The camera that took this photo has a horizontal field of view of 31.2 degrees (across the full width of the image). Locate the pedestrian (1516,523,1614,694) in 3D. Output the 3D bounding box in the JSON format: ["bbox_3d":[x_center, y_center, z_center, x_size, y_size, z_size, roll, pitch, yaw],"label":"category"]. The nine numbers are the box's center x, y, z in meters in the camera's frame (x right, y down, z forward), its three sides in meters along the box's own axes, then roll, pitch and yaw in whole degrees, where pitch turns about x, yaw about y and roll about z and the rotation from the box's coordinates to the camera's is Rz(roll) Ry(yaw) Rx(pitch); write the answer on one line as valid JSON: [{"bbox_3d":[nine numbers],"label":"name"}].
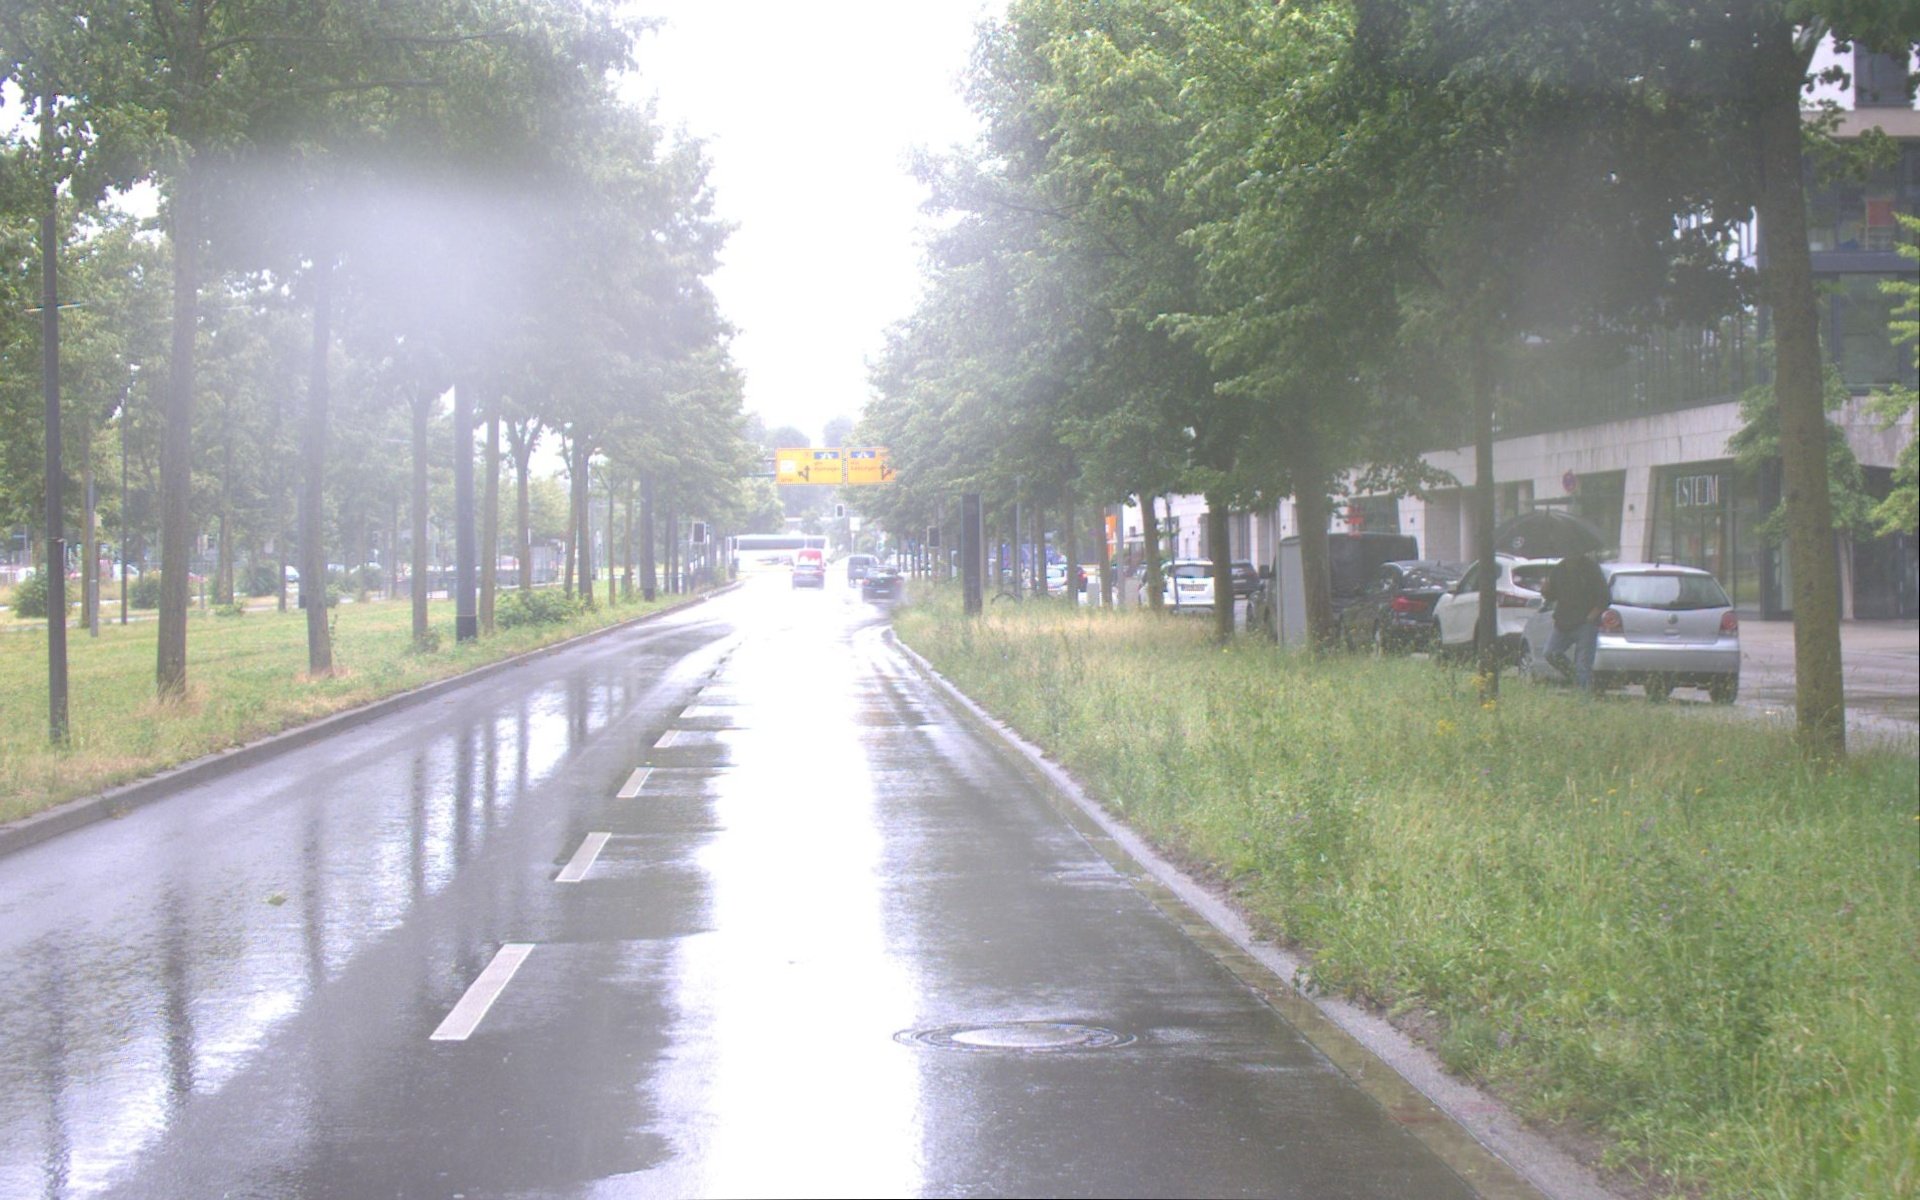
[{"bbox_3d":[5.343,0.069,30.389,0.697,1.488,0.644,-1,1,-5],"label":"pedestrian"}]

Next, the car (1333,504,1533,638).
[{"bbox_3d":[6.698,-0.467,49.207,1.993,1.663,4.959,-1,3,-2],"label":"car"}]

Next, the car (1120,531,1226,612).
[{"bbox_3d":[4.960,-0.702,80.703,1.993,1.663,4.725,-1,3,-2],"label":"car"}]

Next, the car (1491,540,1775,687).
[{"bbox_3d":[7.197,0.096,37.233,1.769,1.447,4.725,0,2,-5],"label":"car"}]

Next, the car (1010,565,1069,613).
[{"bbox_3d":[2.918,-0.429,126.674,1.881,1.500,4.725,-1,3,-2],"label":"car"}]

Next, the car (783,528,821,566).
[{"bbox_3d":[-9.181,-3.090,199.959,1.993,2.006,4.001,-1,3,0],"label":"car"}]

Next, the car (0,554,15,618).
[{"bbox_3d":[-23.399,-0.225,78.972,1.951,1.455,4.832,-1,3,1],"label":"car"}]

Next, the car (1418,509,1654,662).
[{"bbox_3d":[7.149,-0.236,43.131,1.993,1.663,4.725,-1,3,-2],"label":"car"}]

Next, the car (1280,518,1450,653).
[{"bbox_3d":[6.574,-0.288,56.300,1.993,1.945,5.030,-1,3,-2],"label":"car"}]

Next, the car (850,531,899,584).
[{"bbox_3d":[-3.537,-1.759,142.158,1.940,2.006,4.001,-1,3,-2],"label":"car"}]

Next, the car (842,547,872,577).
[{"bbox_3d":[-7.379,-2.738,247.090,1.993,2.006,4.001,-1,3,0],"label":"car"}]

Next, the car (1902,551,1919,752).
[{"bbox_3d":[8.065,0.396,22.394,1.993,1.439,5.238,-1,1,-5],"label":"car"}]
